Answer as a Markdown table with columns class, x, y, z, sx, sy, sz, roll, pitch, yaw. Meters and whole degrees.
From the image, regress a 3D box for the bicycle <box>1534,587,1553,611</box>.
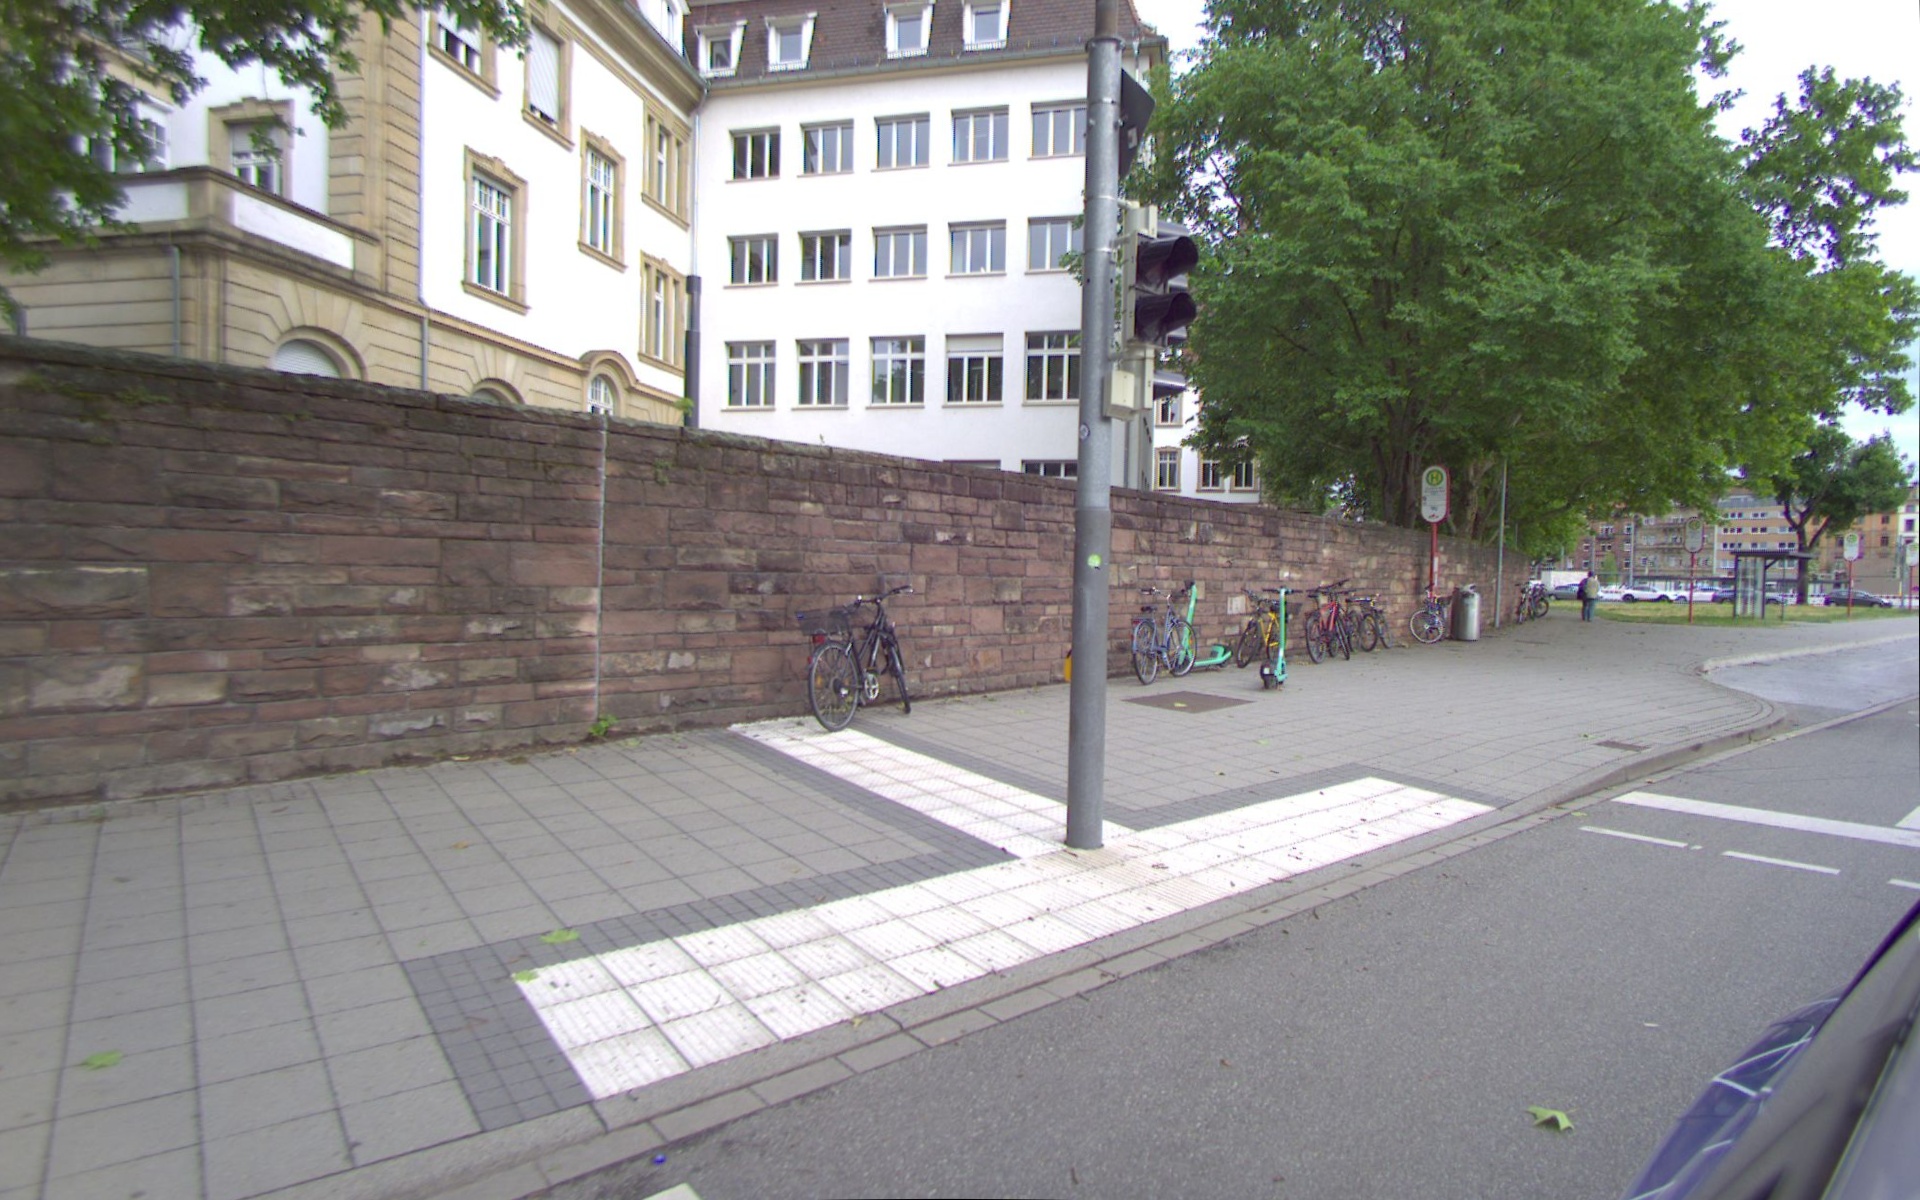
| class | x | y | z | sx | sy | sz | roll | pitch | yaw |
| --- | --- | --- | --- | --- | --- | --- | --- | --- | --- |
| bicycle | 24.015 | -0.055 | 41.660 | 0.564 | 0.951 | 1.751 | 2 | 2 | 28 |

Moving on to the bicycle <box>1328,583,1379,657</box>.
| class | x | y | z | sx | sy | sz | roll | pitch | yaw |
| --- | --- | --- | --- | --- | --- | --- | --- | --- | --- |
| bicycle | 6.450 | 0.301 | 16.539 | 0.337 | 1.158 | 1.917 | 0 | 0 | 35 |

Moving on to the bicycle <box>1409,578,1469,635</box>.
| class | x | y | z | sx | sy | sz | roll | pitch | yaw |
| --- | --- | --- | --- | --- | --- | --- | --- | --- | --- |
| bicycle | 9.714 | 0.118 | 20.484 | 0.477 | 1.089 | 2.050 | 3 | 2 | 43 |

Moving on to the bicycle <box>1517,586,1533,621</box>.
| class | x | y | z | sx | sy | sz | roll | pitch | yaw |
| --- | --- | --- | --- | --- | --- | --- | --- | --- | --- |
| bicycle | 16.313 | 0.079 | 29.226 | 0.361 | 0.951 | 1.625 | 2 | 2 | 28 |

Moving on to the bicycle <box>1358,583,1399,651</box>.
| class | x | y | z | sx | sy | sz | roll | pitch | yaw |
| --- | --- | --- | --- | --- | --- | --- | --- | --- | --- |
| bicycle | 7.480 | 0.286 | 18.068 | 0.337 | 1.158 | 1.657 | 0 | 0 | 35 |

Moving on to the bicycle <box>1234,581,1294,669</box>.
| class | x | y | z | sx | sy | sz | roll | pitch | yaw |
| --- | --- | --- | --- | --- | --- | --- | --- | --- | --- |
| bicycle | 4.318 | 0.323 | 14.314 | 0.383 | 1.158 | 1.921 | 0 | 0 | 30 |

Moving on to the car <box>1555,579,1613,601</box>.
| class | x | y | z | sx | sy | sz | roll | pitch | yaw |
| --- | --- | --- | --- | --- | --- | --- | --- | --- | --- |
| car | 58.466 | -0.914 | 94.829 | 1.966 | 2.039 | 4.276 | 0 | 0 | -43 |

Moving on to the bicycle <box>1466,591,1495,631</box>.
| class | x | y | z | sx | sy | sz | roll | pitch | yaw |
| --- | --- | --- | --- | --- | --- | --- | --- | --- | --- |
| bicycle | 12.154 | 0.241 | 23.619 | 0.290 | 0.896 | 1.589 | 2 | 2 | 37 |

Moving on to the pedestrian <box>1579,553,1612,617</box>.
| class | x | y | z | sx | sy | sz | roll | pitch | yaw |
| --- | --- | --- | --- | --- | --- | --- | --- | --- | --- |
| pedestrian | 20.911 | -0.499 | 33.318 | 0.779 | 2.037 | 0.879 | 4 | 4 | 33 |

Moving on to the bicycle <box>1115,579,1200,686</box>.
| class | x | y | z | sx | sy | sz | roll | pitch | yaw |
| --- | --- | --- | --- | --- | --- | --- | --- | --- | --- |
| bicycle | 2.352 | 0.347 | 11.875 | 0.383 | 1.158 | 1.921 | 0 | 0 | 30 |

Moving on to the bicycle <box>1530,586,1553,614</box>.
| class | x | y | z | sx | sy | sz | roll | pitch | yaw |
| --- | --- | --- | --- | --- | --- | --- | --- | --- | --- |
| bicycle | 21.356 | -0.017 | 37.178 | 0.648 | 0.951 | 1.938 | 2 | 2 | 28 |

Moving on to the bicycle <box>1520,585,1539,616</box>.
| class | x | y | z | sx | sy | sz | roll | pitch | yaw |
| --- | --- | --- | --- | --- | --- | --- | --- | --- | --- |
| bicycle | 18.533 | 0.009 | 32.935 | 0.477 | 0.951 | 1.881 | 2 | 2 | 28 |

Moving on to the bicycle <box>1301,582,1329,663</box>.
| class | x | y | z | sx | sy | sz | roll | pitch | yaw |
| --- | --- | --- | --- | --- | --- | --- | --- | --- | --- |
| bicycle | 5.383 | 0.313 | 15.338 | 0.381 | 1.158 | 1.929 | 0 | 0 | 20 |

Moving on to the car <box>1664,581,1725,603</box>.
| class | x | y | z | sx | sy | sz | roll | pitch | yaw |
| --- | --- | --- | --- | --- | --- | --- | --- | --- | --- |
| car | 64.237 | -0.704 | 88.507 | 1.967 | 1.792 | 3.990 | 0 | 3 | -44 |
